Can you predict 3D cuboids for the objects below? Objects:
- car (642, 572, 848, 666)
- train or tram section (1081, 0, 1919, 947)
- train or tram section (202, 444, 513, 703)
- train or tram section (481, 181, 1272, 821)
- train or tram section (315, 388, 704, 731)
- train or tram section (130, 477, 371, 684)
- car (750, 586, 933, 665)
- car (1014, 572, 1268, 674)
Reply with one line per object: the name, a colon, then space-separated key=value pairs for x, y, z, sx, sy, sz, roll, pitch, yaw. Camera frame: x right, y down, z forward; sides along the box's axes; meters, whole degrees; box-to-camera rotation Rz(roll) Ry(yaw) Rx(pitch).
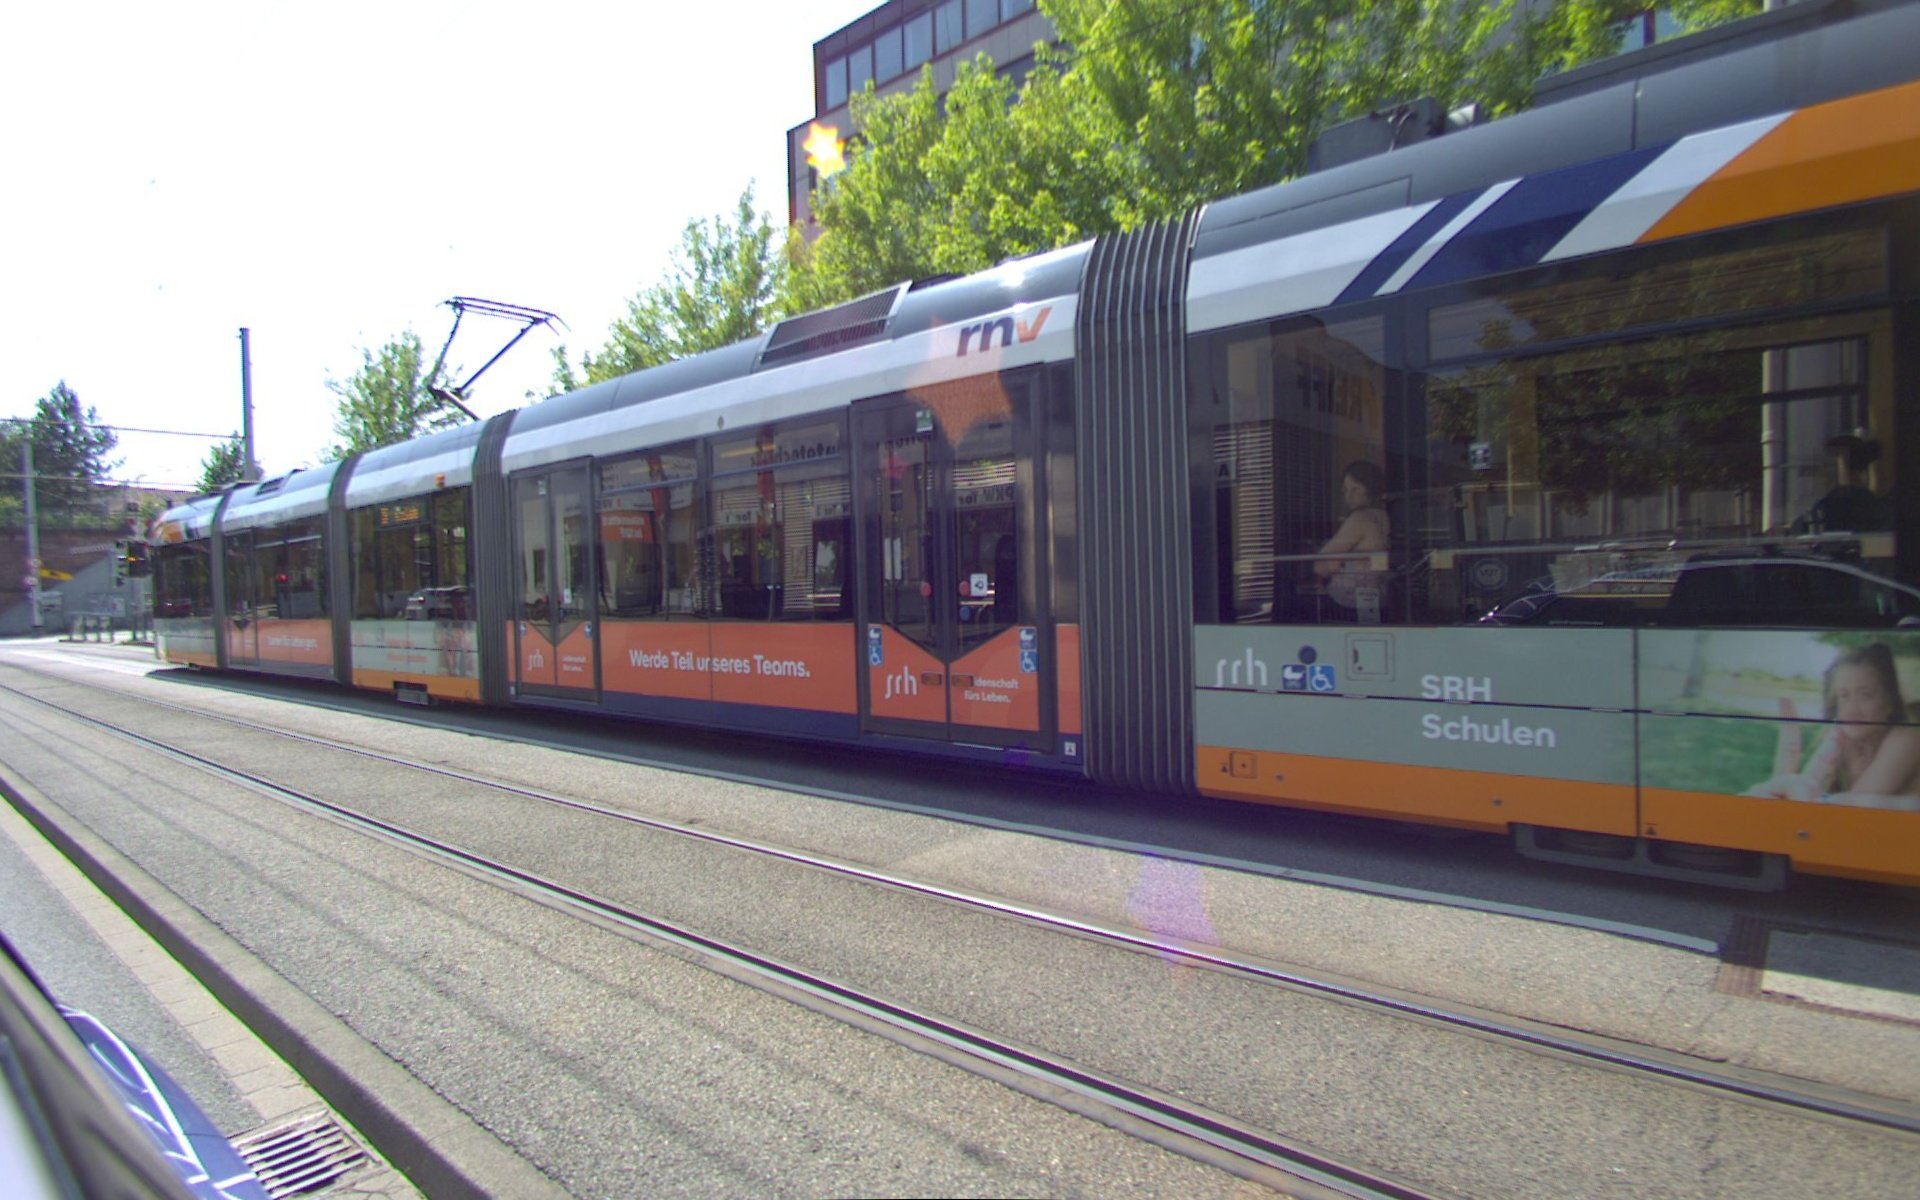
car: x=-4.143 y=0.367 z=19.179 sx=4.068 sy=1.596 sz=1.705 roll=-1 pitch=-2 yaw=40
train or tram section: x=3.913 y=-0.624 z=4.311 sx=6.359 sy=3.473 sz=2.554 roll=-1 pitch=0 yaw=41
train or tram section: x=-9.946 y=-0.334 z=16.471 sx=5.840 sy=3.473 sz=2.584 roll=-1 pitch=0 yaw=41
train or tram section: x=-1.259 y=-0.503 z=8.805 sx=7.132 sy=3.473 sz=2.554 roll=-1 pitch=0 yaw=41
train or tram section: x=-5.850 y=-0.398 z=12.868 sx=5.007 sy=3.473 sz=2.584 roll=-1 pitch=0 yaw=41
train or tram section: x=-14.331 y=-0.313 z=20.282 sx=5.739 sy=3.559 sz=2.584 roll=-1 pitch=0 yaw=41
car: x=-2.610 y=0.525 z=21.769 sx=3.903 sy=1.474 sz=1.704 roll=-1 pitch=2 yaw=42
car: x=3.060 y=0.365 z=17.570 sx=3.999 sy=1.530 sz=1.742 roll=-1 pitch=1 yaw=42
